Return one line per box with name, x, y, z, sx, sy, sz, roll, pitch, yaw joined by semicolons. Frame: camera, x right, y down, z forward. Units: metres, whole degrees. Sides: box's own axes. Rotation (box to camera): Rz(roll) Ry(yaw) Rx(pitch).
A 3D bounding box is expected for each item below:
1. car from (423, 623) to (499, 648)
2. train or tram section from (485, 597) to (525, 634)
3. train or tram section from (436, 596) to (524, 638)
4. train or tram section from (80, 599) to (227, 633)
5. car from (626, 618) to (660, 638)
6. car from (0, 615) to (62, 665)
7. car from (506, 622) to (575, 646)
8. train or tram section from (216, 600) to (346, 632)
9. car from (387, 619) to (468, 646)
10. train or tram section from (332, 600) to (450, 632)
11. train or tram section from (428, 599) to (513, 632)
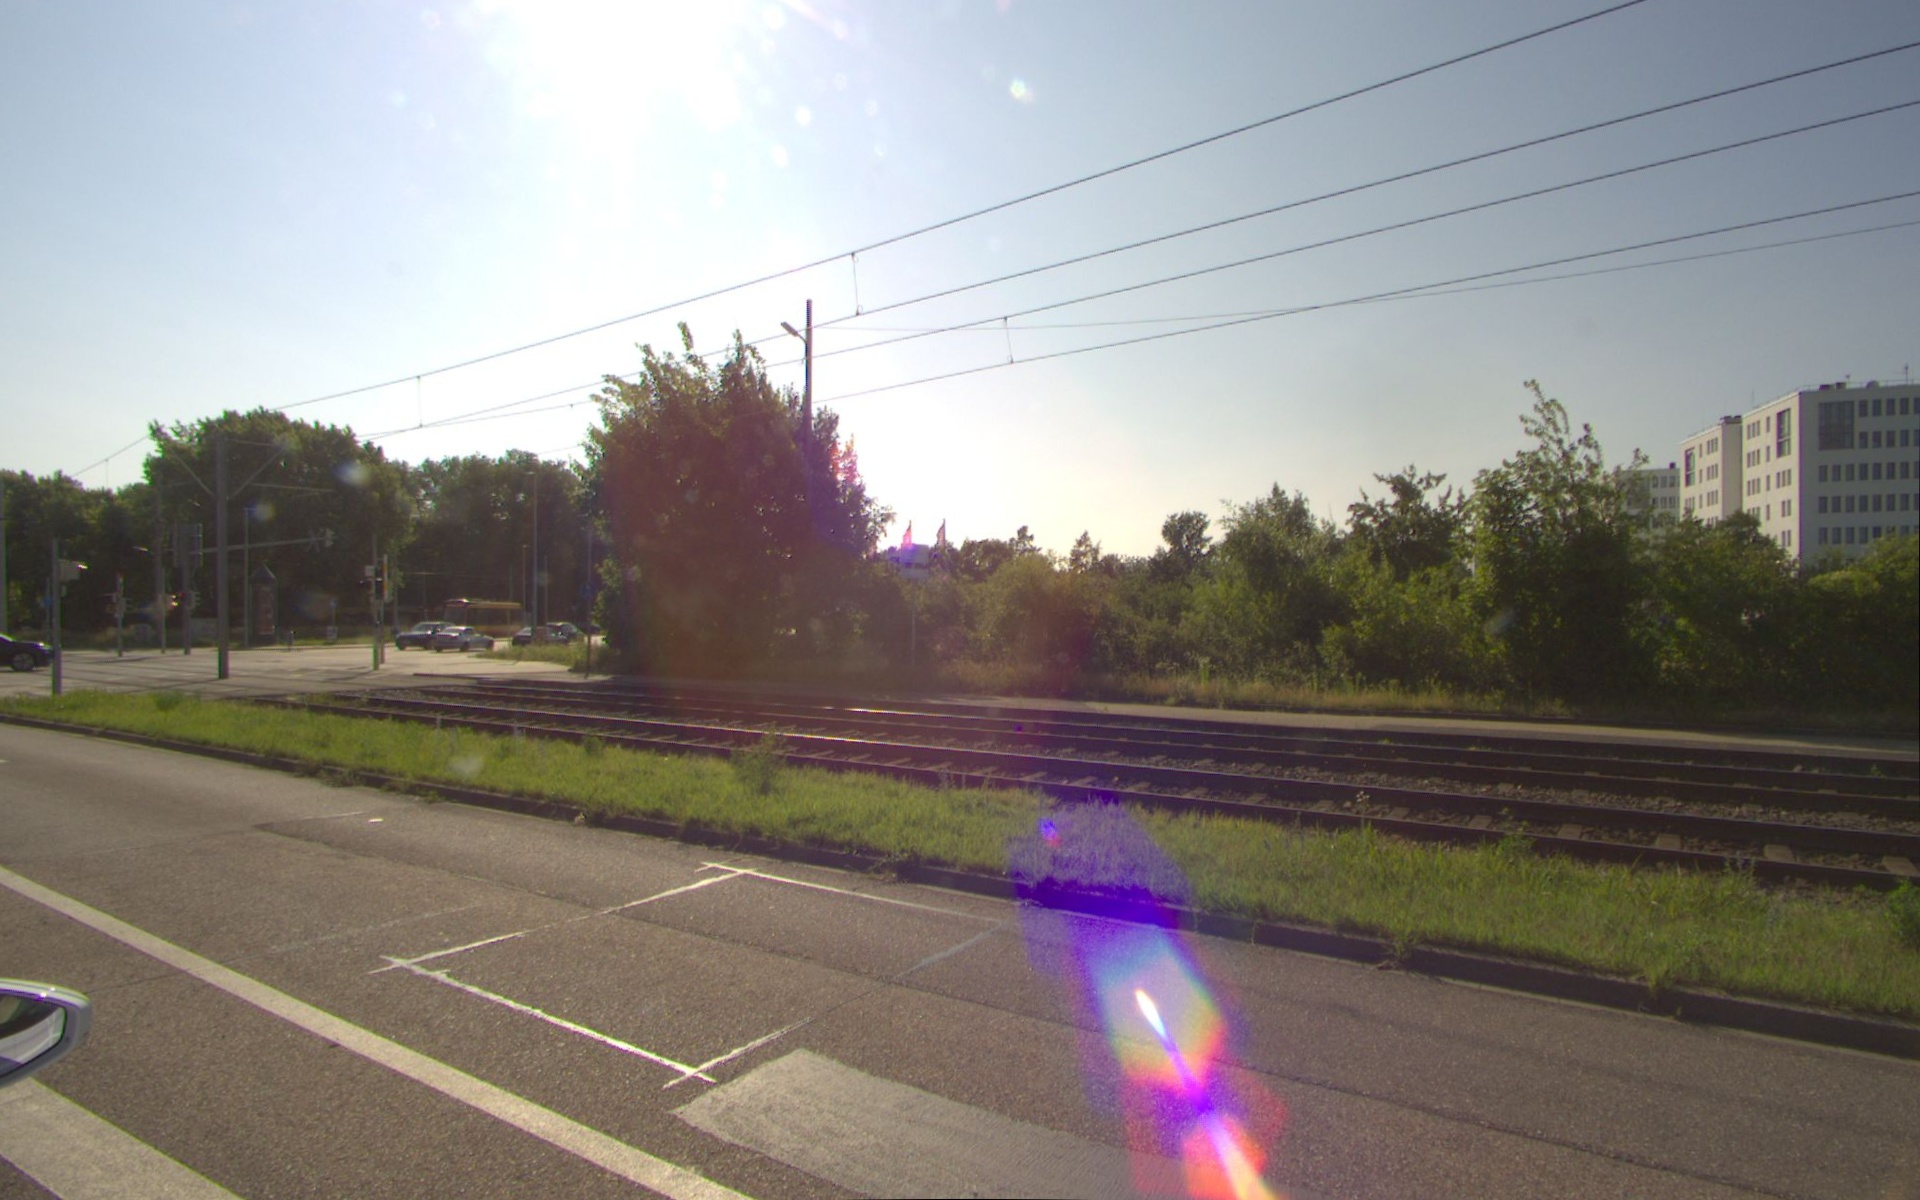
car;-28.873;2.056;58.099;1.961;1.371;4.410;0;-1;4
train or tram section;-47.641;1.627;104.610;3.009;3.626;12.174;0;-1;-28
train or tram section;-44.451;1.572;93.310;2.995;3.626;11.853;0;-1;-3
train or tram section;-88.969;1.757;110.806;12.249;3.626;3.041;0;-1;-27
car;-27.787;2.437;87.863;1.961;1.686;4.633;0;-1;-6
car;-34.816;1.398;35.292;4.570;1.745;1.636;2;-1;-39
car;-25.194;2.034;60.300;1.961;1.371;4.408;0;-1;6
train or tram section;-78.205;1.860;115.619;12.027;3.626;3.045;0;-1;-22
car;-31.884;1.926;60.124;2.005;1.583;4.863;0;-1;5
train or tram section;-66.492;1.884;117.220;11.992;3.626;3.054;0;-1;-1
train or tram section;-55.548;1.745;113.441;12.061;3.626;3.037;-1;-1;34
